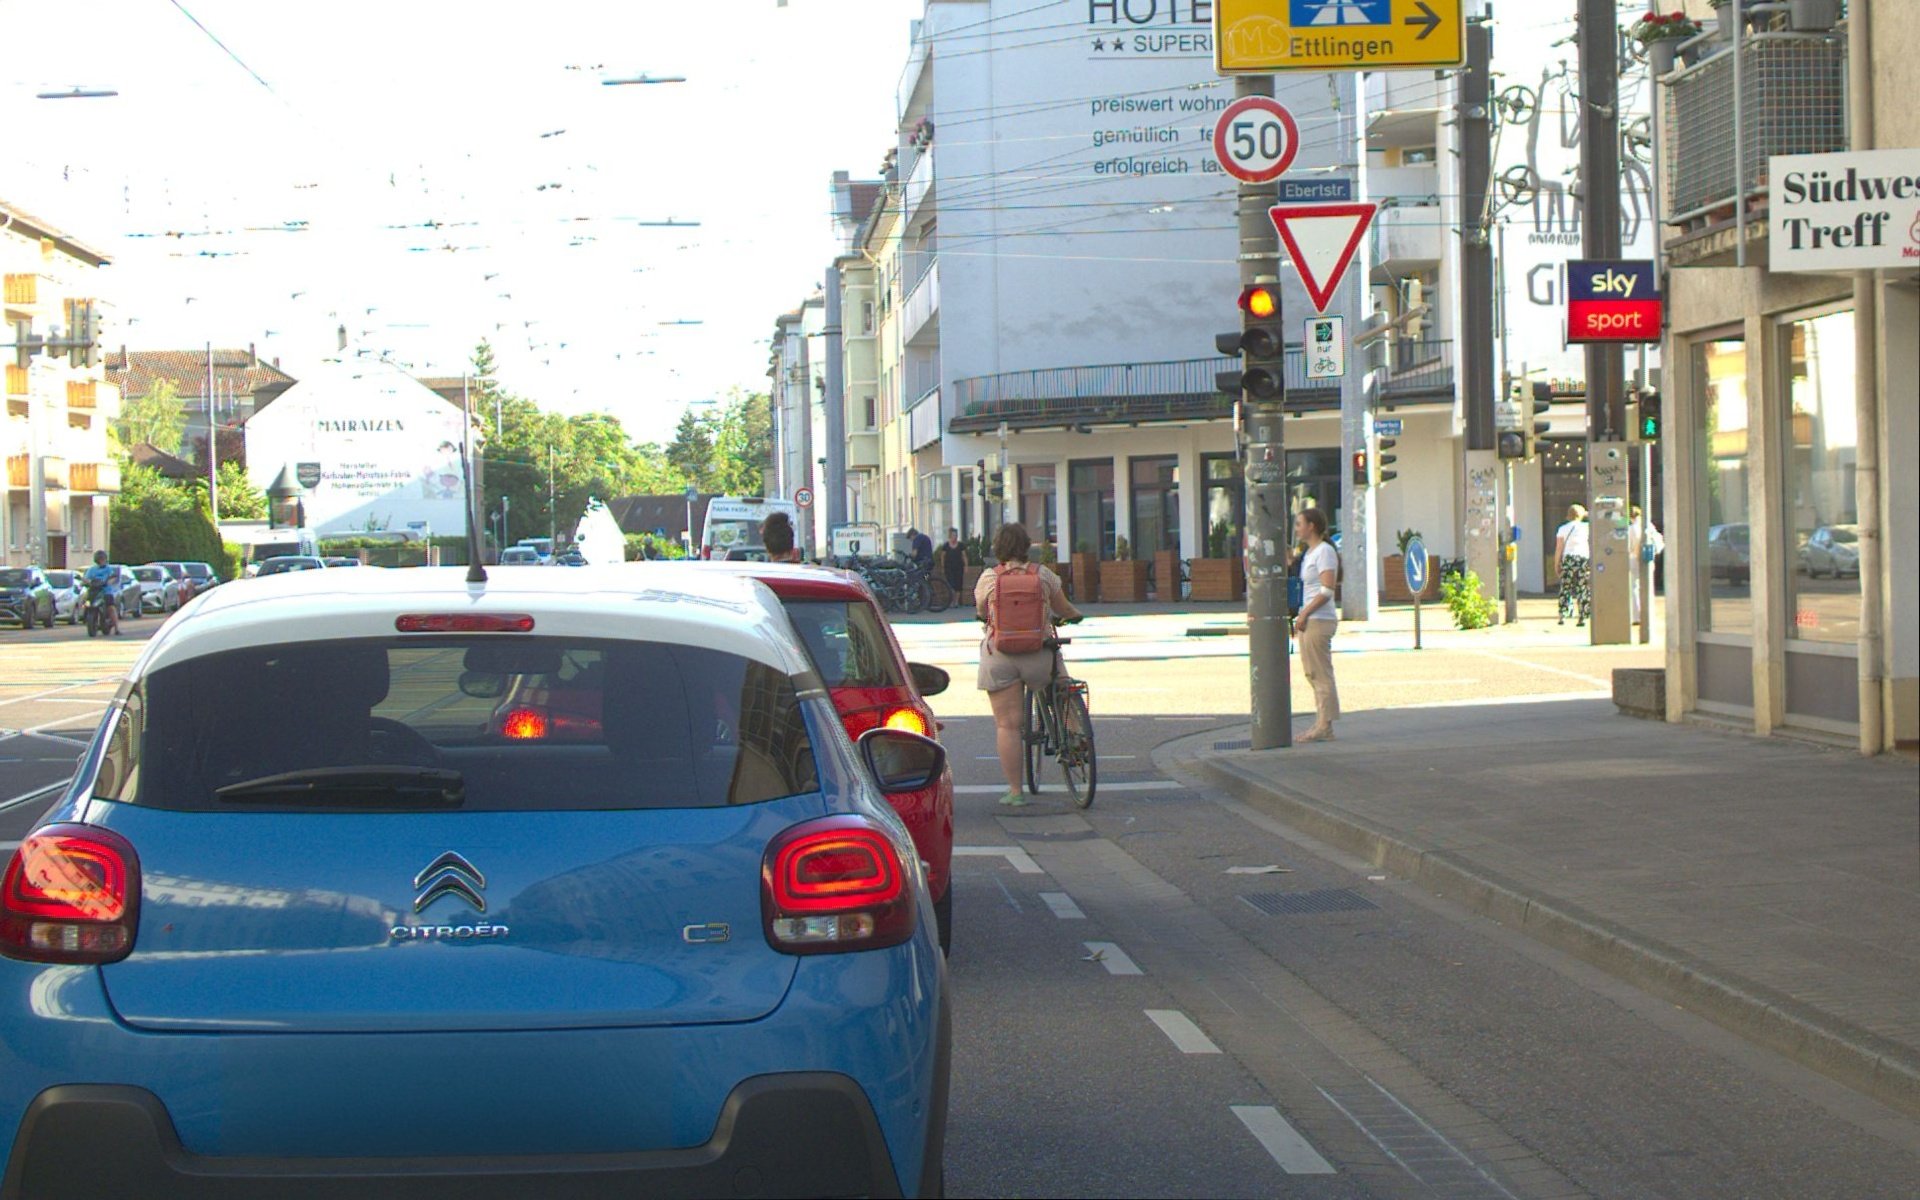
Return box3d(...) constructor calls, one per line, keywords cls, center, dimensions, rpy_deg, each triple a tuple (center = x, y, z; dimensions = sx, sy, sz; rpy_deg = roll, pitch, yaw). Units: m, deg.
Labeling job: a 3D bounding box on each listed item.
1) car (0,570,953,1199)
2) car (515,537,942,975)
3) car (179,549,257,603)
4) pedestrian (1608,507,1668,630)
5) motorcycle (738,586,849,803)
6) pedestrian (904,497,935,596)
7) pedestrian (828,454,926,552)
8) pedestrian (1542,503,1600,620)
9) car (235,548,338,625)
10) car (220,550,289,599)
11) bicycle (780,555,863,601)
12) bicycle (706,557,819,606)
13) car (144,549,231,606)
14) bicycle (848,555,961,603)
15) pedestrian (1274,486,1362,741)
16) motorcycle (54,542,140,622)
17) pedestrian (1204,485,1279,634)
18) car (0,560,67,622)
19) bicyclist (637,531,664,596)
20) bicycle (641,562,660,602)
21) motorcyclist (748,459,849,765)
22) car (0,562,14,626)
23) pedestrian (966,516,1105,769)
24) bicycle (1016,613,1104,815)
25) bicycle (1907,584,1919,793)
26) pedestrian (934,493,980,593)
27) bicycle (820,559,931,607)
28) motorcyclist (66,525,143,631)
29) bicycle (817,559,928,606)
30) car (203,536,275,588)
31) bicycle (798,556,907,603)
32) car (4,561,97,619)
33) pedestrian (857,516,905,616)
box3d(cls="car", center=(-0.868, 0.672, 7.173), dimensions=(1.654, 1.439, 3.523), rpy_deg=(1, 1, -1))
box3d(cls="car", center=(-0.804, 0.520, 13.188), dimensions=(1.424, 1.462, 2.924), rpy_deg=(-1, 0, -1))
box3d(cls="car", center=(-24.021, -0.790, 111.344), dimensions=(1.882, 1.681, 4.001), rpy_deg=(1, 1, -4))
box3d(cls="pedestrian", center=(9.236, -0.435, 46.833), dimensions=(0.752, 1.652, 0.883), rpy_deg=(1, 0, 13))
box3d(cls="motorcycle", center=(-0.924, 0.499, 19.451), dimensions=(0.526, 1.136, 2.290), rpy_deg=(1, 1, -1))
box3d(cls="pedestrian", center=(-0.835, -1.093, 70.230), dimensions=(0.577, 2.007, 0.626), rpy_deg=(1, 0, -3))
box3d(cls="pedestrian", center=(-1.750, -2.041, 73.545), dimensions=(1.993, 2.007, 4.000), rpy_deg=(1, 1, -1))
box3d(cls="pedestrian", center=(8.414, -0.530, 47.312), dimensions=(0.736, 1.595, 0.748), rpy_deg=(1, 0, 13))
box3d(cls="car", center=(-14.951, -0.312, 76.439), dimensions=(1.774, 1.660, 3.857), rpy_deg=(1, 1, -4))
box3d(cls="car", center=(-24.837, -0.901, 121.189), dimensions=(1.846, 1.681, 3.875), rpy_deg=(1, 1, -4))
box3d(cls="bicycle", center=(-2.805, -0.447, 69.446), dimensions=(1.785, 0.898, 0.366), rpy_deg=(1, 1, 34))
box3d(cls="bicycle", center=(-3.809, -0.355, 66.223), dimensions=(2.132, 0.898, 0.367), rpy_deg=(1, 0, -9))
box3d(cls="car", center=(-23.826, -0.701, 106.180), dimensions=(1.983, 1.681, 4.001), rpy_deg=(1, 1, -3))
box3d(cls="bicycle", center=(-1.059, -0.400, 65.961), dimensions=(2.132, 0.898, 0.367), rpy_deg=(1, 0, -9))
box3d(cls="pedestrian", center=(2.526, 0.092, 24.289), dimensions=(0.517, 1.777, 0.595), rpy_deg=(1, 0, -2))
box3d(cls="motorcycle", center=(-16.686, -0.360, 66.568), dimensions=(0.923, 1.481, 3.726), rpy_deg=(1, 1, -3))
box3d(cls="pedestrian", center=(3.842, -0.551, 46.981), dimensions=(0.926, 2.007, 0.759), rpy_deg=(1, 0, -1))
box3d(cls="car", center=(-23.667, -0.233, 86.044), dimensions=(1.785, 1.493, 4.001), rpy_deg=(1, 1, -4))
box3d(cls="bicyclist", center=(-6.995, -0.828, 77.809), dimensions=(0.561, 1.472, 0.748), rpy_deg=(1, 0, -3))
box3d(cls="bicycle", center=(-7.012, -0.417, 77.907), dimensions=(0.349, 0.900, 1.859), rpy_deg=(1, 1, -4))
box3d(cls="motorcyclist", center=(-0.916, 0.064, 19.634), dimensions=(0.526, 1.710, 0.717), rpy_deg=(1, 0, -1))
box3d(cls="car", center=(-23.226, -0.140, 79.277), dimensions=(1.787, 1.506, 4.150), rpy_deg=(1, 1, -2))
box3d(cls="pedestrian", center=(0.437, 0.243, 20.214), dimensions=(0.777, 1.455, 0.682), rpy_deg=(1, 0, -1))
box3d(cls="bicycle", center=(0.586, 0.651, 20.515), dimensions=(0.427, 1.119, 1.998), rpy_deg=(1, 1, -1))
box3d(cls="bicycle", center=(4.872, 0.434, 15.796), dimensions=(0.542, 0.995, 1.706), rpy_deg=(1, 1, -1))
box3d(cls="pedestrian", center=(-0.060, -1.162, 70.149), dimensions=(0.709, 2.007, 0.760), rpy_deg=(1, 0, -19))
box3d(cls="bicycle", center=(-1.654, -0.336, 67.280), dimensions=(2.132, 0.898, 0.367), rpy_deg=(1, 0, -9))
box3d(cls="motorcyclist", center=(-16.680, -0.437, 67.037), dimensions=(1.185, 2.007, 1.276), rpy_deg=(-1, 1, -3))
box3d(cls="bicycle", center=(-1.723, -0.338, 67.709), dimensions=(2.132, 0.898, 0.367), rpy_deg=(1, 0, -9))
box3d(cls="car", center=(-24.437, -1.287, 116.613), dimensions=(1.833, 1.681, 4.001), rpy_deg=(1, 1, -4))
box3d(cls="bicycle", center=(-2.133, -0.414, 68.342), dimensions=(2.132, 0.898, 0.367), rpy_deg=(1, 0, -9))
box3d(cls="car", center=(-24.337, -0.286, 92.093), dimensions=(1.732, 1.493, 4.001), rpy_deg=(1, 1, -5))
box3d(cls="pedestrian", center=(-1.589, -0.682, 69.213), dimensions=(0.630, 2.007, 0.724), rpy_deg=(1, 0, -36))
